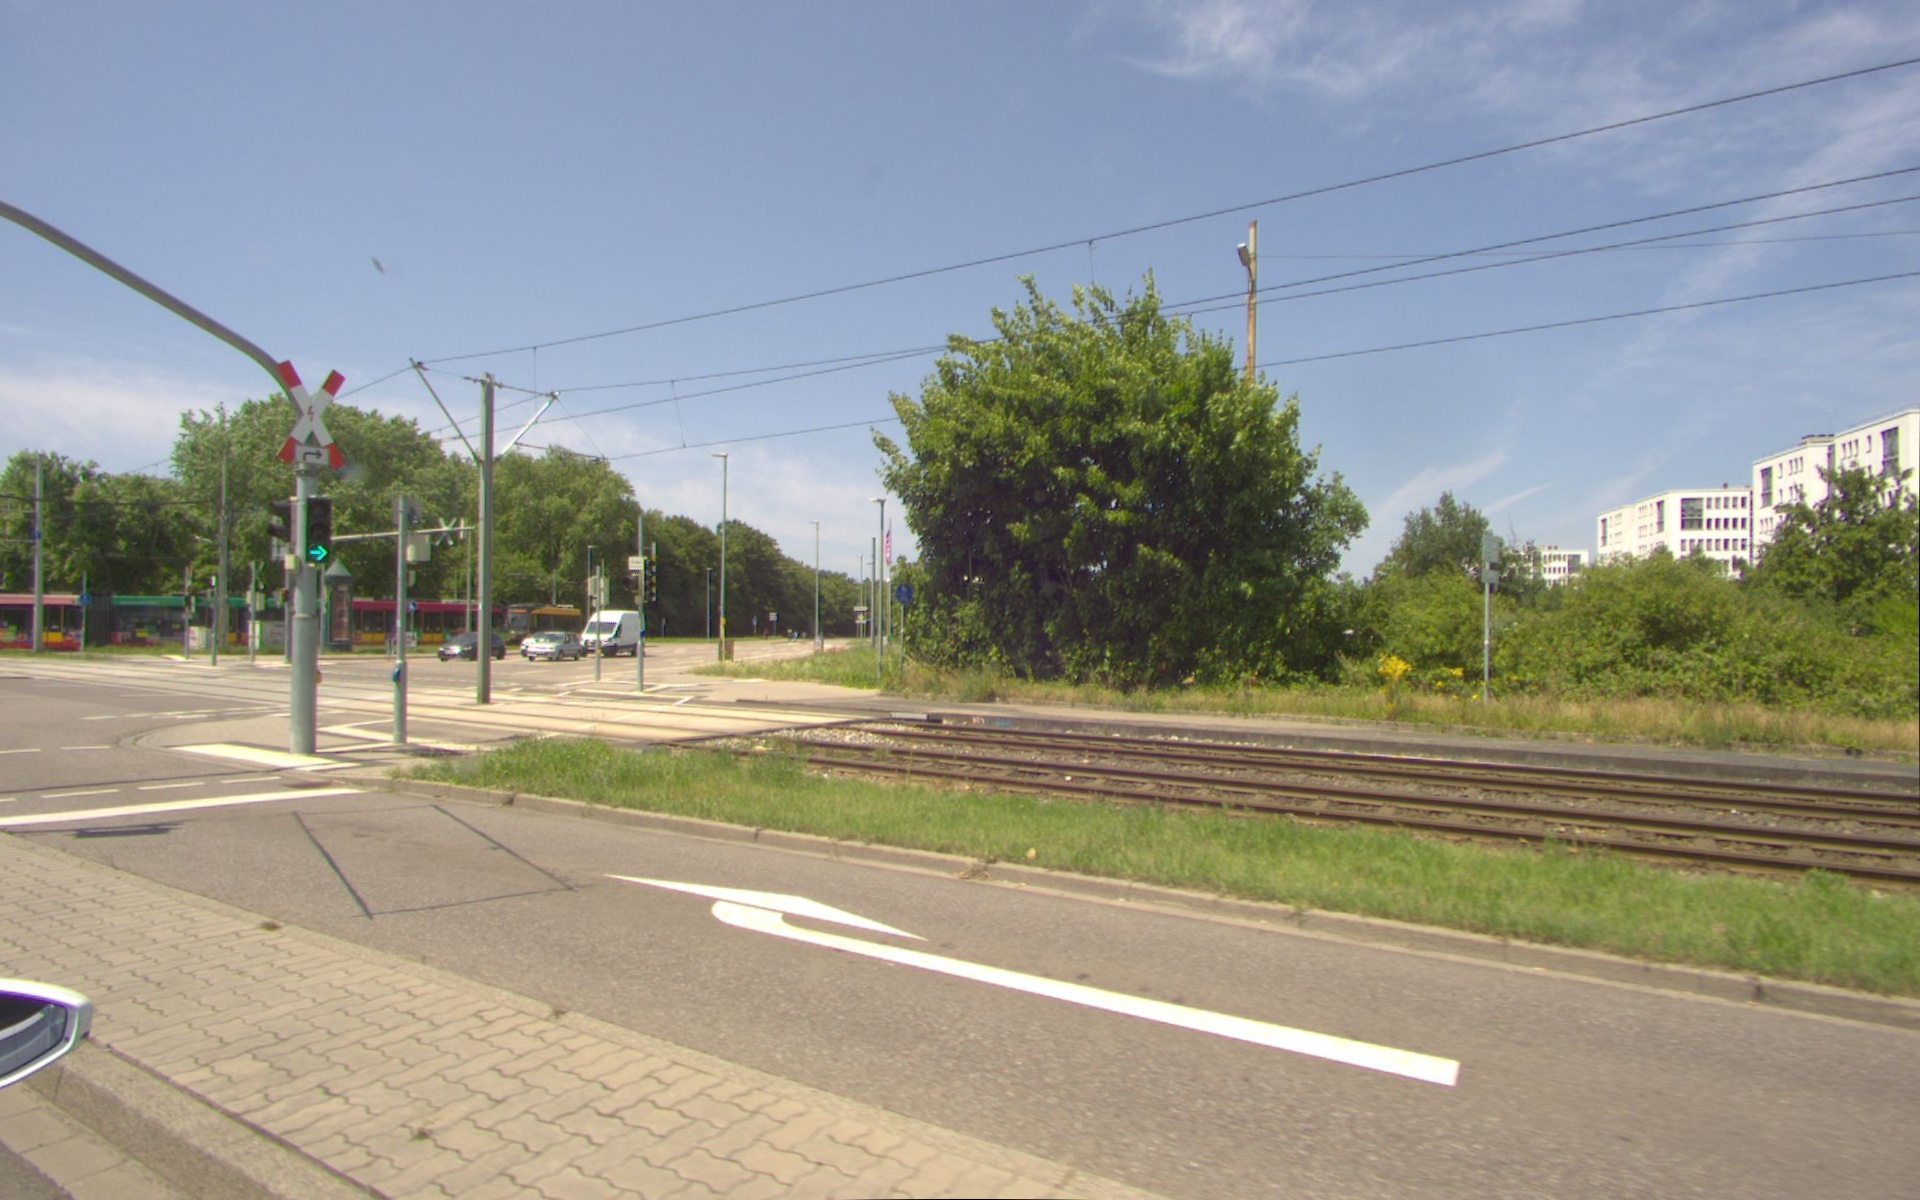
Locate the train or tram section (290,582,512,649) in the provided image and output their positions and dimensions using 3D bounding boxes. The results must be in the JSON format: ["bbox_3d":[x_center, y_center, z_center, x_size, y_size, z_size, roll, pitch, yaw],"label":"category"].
[{"bbox_3d":[-38.448,1.290,69.950,2.882,3.965,13.983,-3,-5,31],"label":"train or tram section"}]

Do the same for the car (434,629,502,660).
[{"bbox_3d":[-24.484,2.179,49.969,1.608,1.481,3.510,1,-2,1],"label":"car"}]

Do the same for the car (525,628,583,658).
[{"bbox_3d":[-21.097,2.230,52.227,1.608,1.481,3.807,1,-2,-3],"label":"car"}]

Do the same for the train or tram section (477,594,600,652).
[{"bbox_3d":[-34.201,2.074,82.222,2.867,3.965,13.979,-2,-4,6],"label":"train or tram section"}]

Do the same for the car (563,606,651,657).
[{"bbox_3d":[-21.256,1.917,60.786,2.664,2.838,7.287,1,-2,1],"label":"car"}]

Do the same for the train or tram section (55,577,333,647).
[{"bbox_3d":[-46.431,0.866,61.551,13.284,3.857,2.907,2,-5,-34],"label":"train or tram section"}]

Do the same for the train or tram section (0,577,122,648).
[{"bbox_3d":[-56.769,0.806,58.217,12.822,3.857,2.926,-1,-4,-6],"label":"train or tram section"}]
